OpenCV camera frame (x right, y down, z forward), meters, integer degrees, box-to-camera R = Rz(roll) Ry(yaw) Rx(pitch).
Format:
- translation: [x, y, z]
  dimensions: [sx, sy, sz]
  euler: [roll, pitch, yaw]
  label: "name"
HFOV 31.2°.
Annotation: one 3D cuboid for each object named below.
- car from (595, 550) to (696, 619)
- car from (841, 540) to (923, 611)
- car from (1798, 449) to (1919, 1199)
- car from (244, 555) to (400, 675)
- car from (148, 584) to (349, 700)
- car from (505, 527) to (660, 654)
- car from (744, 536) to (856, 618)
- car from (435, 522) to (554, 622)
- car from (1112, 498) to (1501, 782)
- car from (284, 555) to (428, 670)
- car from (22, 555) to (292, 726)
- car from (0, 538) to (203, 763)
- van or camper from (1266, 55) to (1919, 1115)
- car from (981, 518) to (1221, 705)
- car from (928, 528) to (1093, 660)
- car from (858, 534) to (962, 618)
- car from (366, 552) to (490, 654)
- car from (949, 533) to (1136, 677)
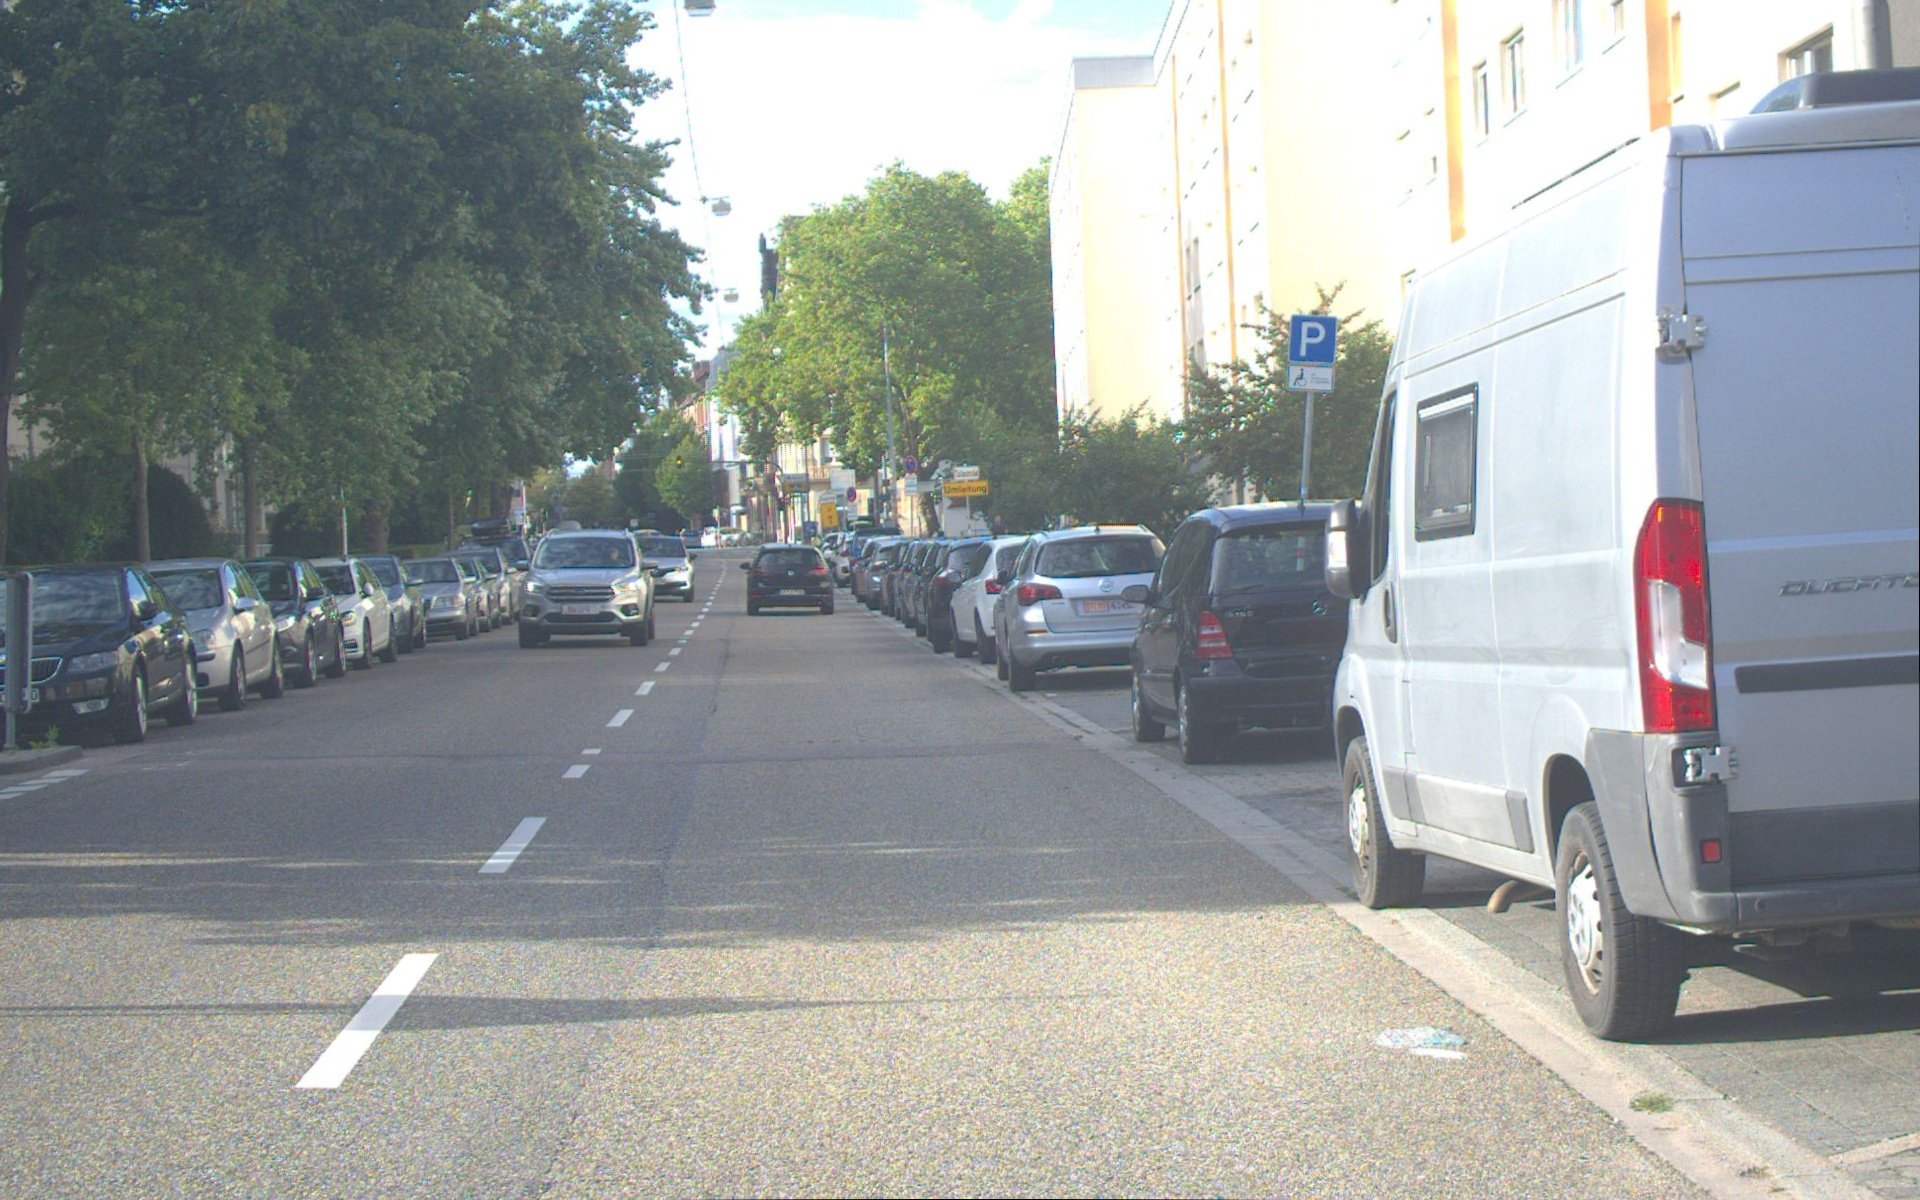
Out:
- translation: [-7.548, -0.396, 82.258]
  dimensions: [1.993, 1.565, 4.001]
  euler: [-2, 1, -11]
  label: "car"
- translation: [-1.992, -0.662, 88.865]
  dimensions: [1.993, 1.678, 4.000]
  euler: [-3, 1, -1]
  label: "car"
- translation: [2.956, 0.486, 5.279]
  dimensions: [1.993, 1.610, 4.408]
  euler: [-3, 1, -3]
  label: "car"
- translation: [-8.131, 0.155, 44.036]
  dimensions: [1.637, 1.385, 3.434]
  euler: [-3, 1, -6]
  label: "car"
- translation: [-7.937, 0.438, 38.622]
  dimensions: [1.806, 1.112, 3.592]
  euler: [-3, 1, -6]
  label: "car"
- translation: [-5.457, -0.161, 49.743]
  dimensions: [2.055, 1.658, 3.927]
  euler: [-3, 1, -6]
  label: "car"
- translation: [-3.302, -0.485, 70.260]
  dimensions: [1.993, 1.565, 4.001]
  euler: [-1, 1, -6]
  label: "car"
- translation: [-10.037, -0.634, 74.397]
  dimensions: [1.993, 2.007, 4.000]
  euler: [-3, 1, -1]
  label: "car"
- translation: [2.124, 0.197, 22.207]
  dimensions: [1.993, 1.568, 4.000]
  euler: [-3, 1, -1]
  label: "car"
- translation: [-8.999, 0.154, 51.439]
  dimensions: [1.806, 1.556, 3.434]
  euler: [-3, 1, -6]
  label: "car"
- translation: [-7.660, 0.340, 33.148]
  dimensions: [1.993, 1.446, 3.905]
  euler: [-3, 1, -6]
  label: "car"
- translation: [-7.398, 0.374, 27.780]
  dimensions: [1.993, 1.634, 4.001]
  euler: [-3, 1, -6]
  label: "car"
- translation: [2.577, -0.120, 11.277]
  dimensions: [2.209, 2.598, 5.372]
  euler: [-3, 1, -4]
  label: "van or camper"
- translation: [1.269, 0.060, 32.676]
  dimensions: [1.993, 1.568, 4.000]
  euler: [-3, 1, -1]
  label: "car"
- translation: [0.614, -0.115, 45.221]
  dimensions: [1.993, 1.568, 4.000]
  euler: [-3, 1, -1]
  label: "car"
- translation: [-1.010, -0.512, 70.405]
  dimensions: [1.993, 1.568, 4.000]
  euler: [-3, 1, -1]
  label: "car"
- translation: [-8.895, 0.019, 57.666]
  dimensions: [1.806, 1.556, 3.434]
  euler: [-3, 1, -6]
  label: "car"
- translation: [0.926, 0.017, 40.596]
  dimensions: [1.993, 1.525, 4.000]
  euler: [-3, 1, -1]
  label: "car"
